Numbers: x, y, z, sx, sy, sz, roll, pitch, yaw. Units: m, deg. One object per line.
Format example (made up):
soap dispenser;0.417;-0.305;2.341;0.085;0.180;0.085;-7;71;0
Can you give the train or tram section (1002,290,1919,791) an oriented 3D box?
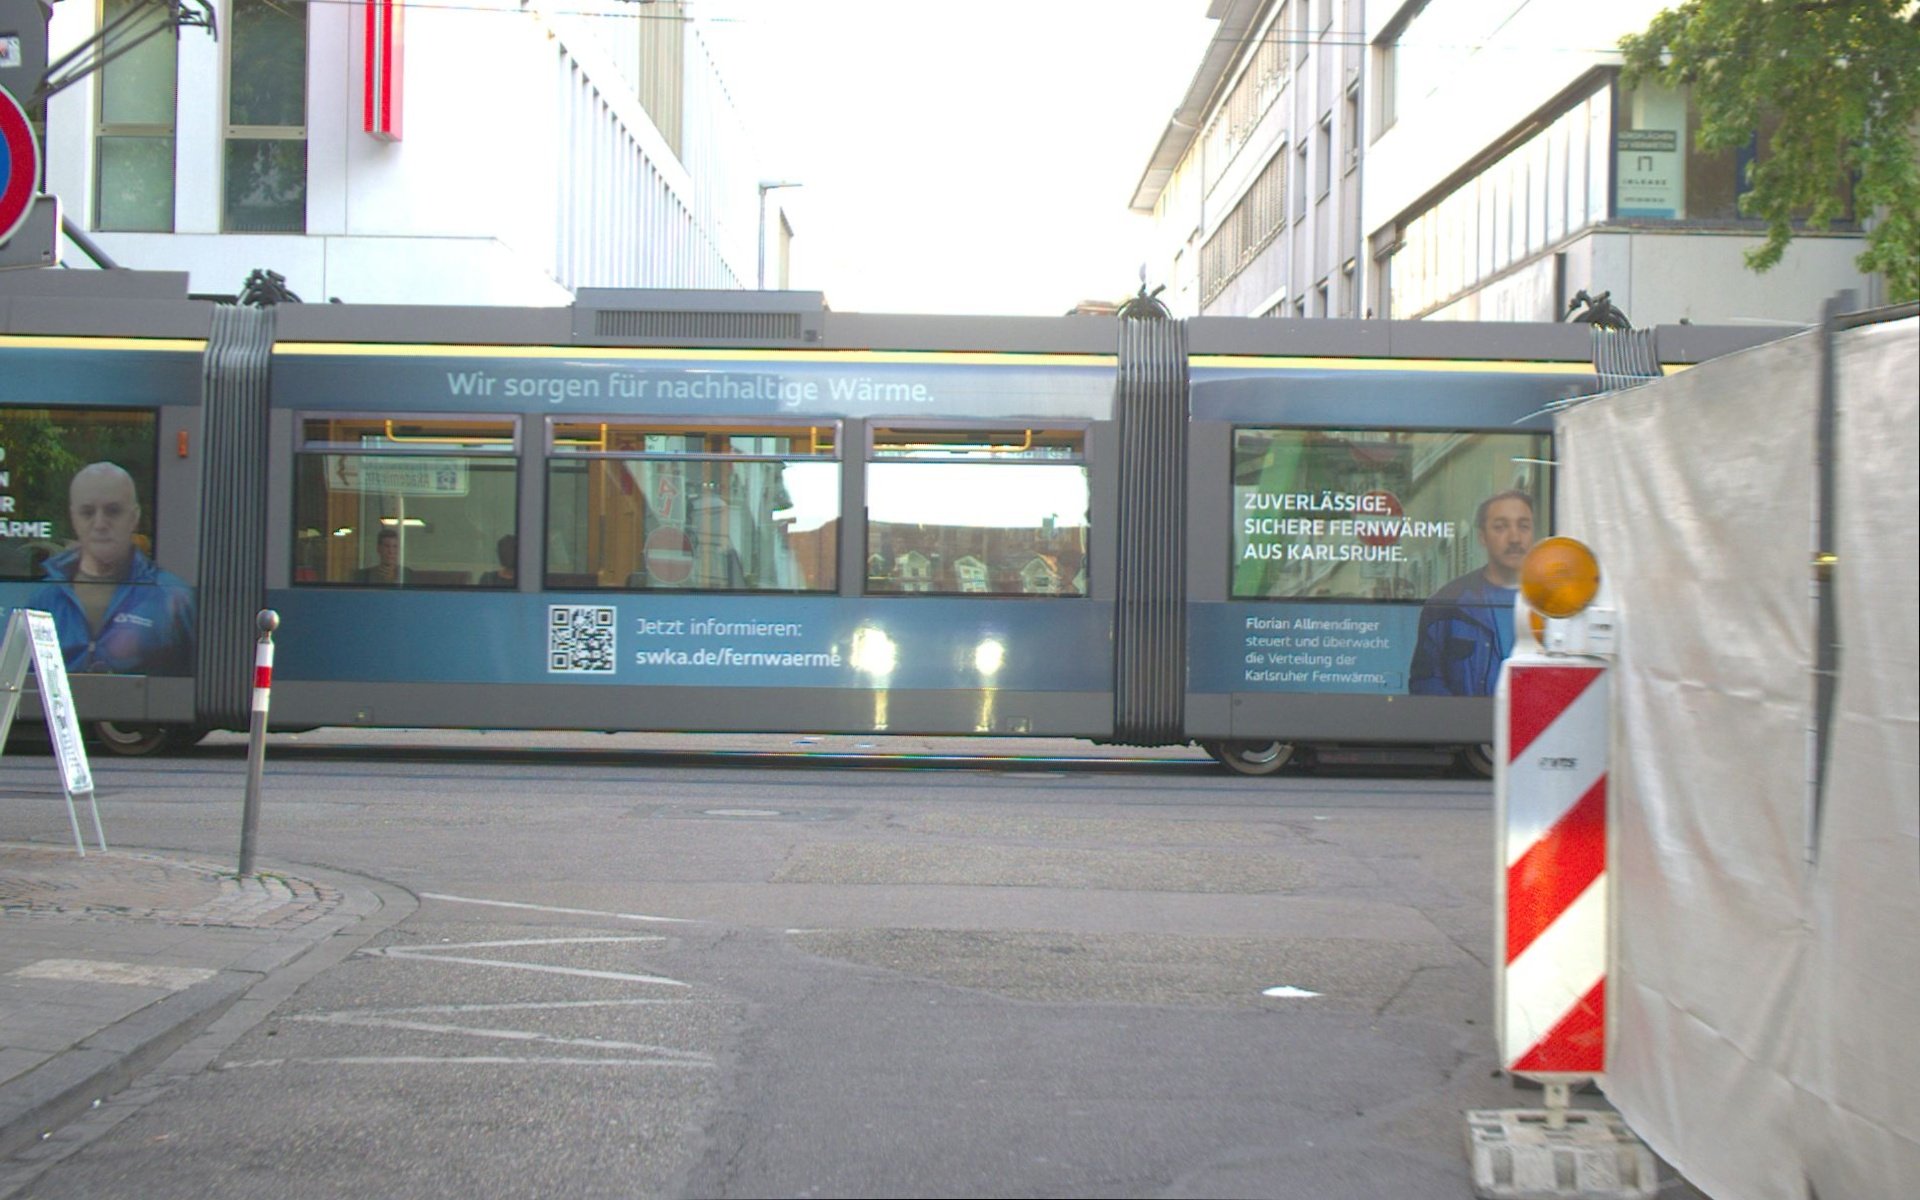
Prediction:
train or tram section;5.521;-0.416;25.869;10.336;3.512;3.026;0;0;0

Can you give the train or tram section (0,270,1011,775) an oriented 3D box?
train or tram section;-4.845;-0.560;25.853;10.367;3.512;3.017;1;0;0

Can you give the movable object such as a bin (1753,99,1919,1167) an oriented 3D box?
movable object such as a bin;3.934;0.106;8.123;2.635;2.863;5.566;0;1;-2
